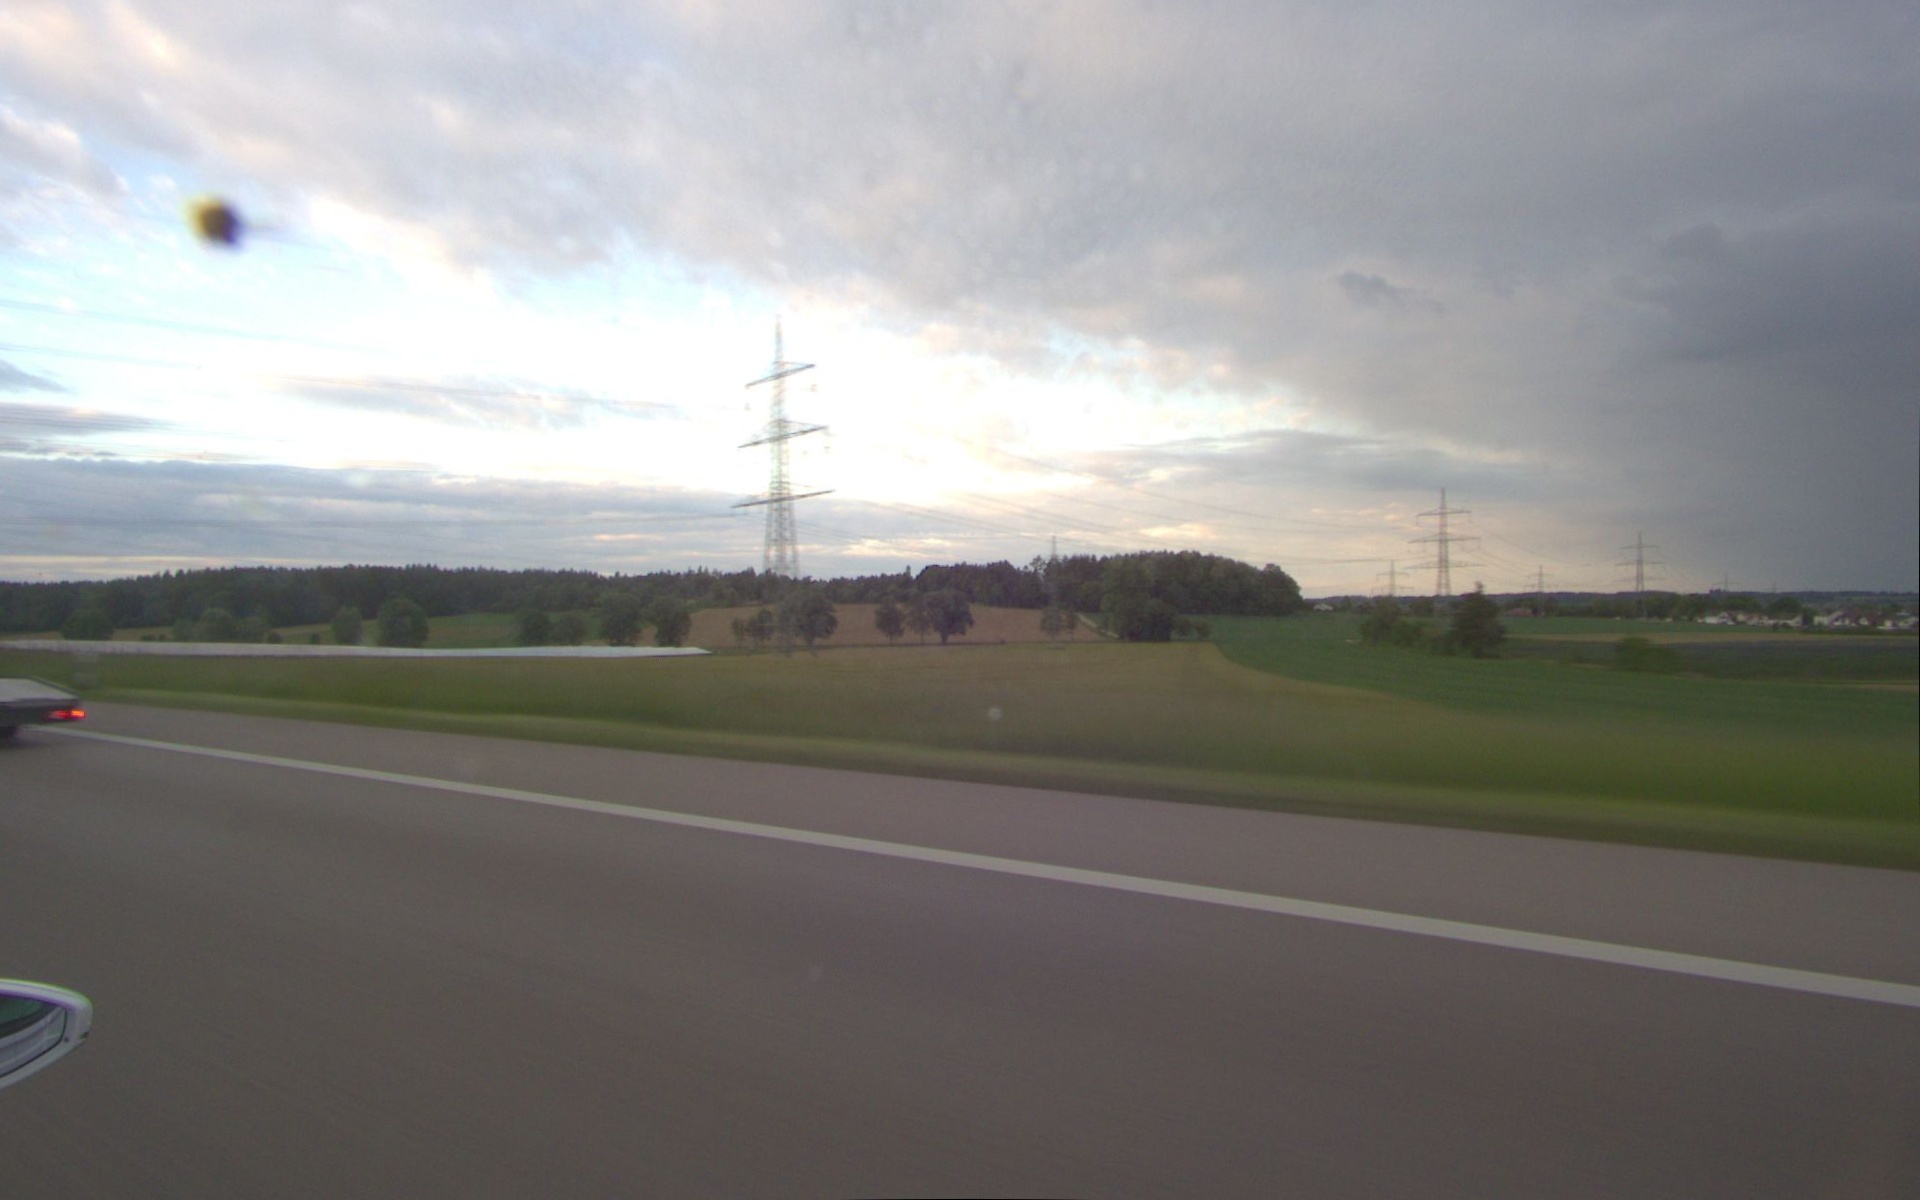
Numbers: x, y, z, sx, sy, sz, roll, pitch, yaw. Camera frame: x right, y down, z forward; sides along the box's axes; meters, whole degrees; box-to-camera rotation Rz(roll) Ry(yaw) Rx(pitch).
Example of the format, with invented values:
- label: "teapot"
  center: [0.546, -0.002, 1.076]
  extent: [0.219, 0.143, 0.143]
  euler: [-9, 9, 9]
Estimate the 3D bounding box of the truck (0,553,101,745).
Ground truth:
- label: "truck"
  center: [-15.198, 0.680, 14.499]
  extent: [7.589, 2.390, 2.168]
  euler: [-1, -2, 33]
